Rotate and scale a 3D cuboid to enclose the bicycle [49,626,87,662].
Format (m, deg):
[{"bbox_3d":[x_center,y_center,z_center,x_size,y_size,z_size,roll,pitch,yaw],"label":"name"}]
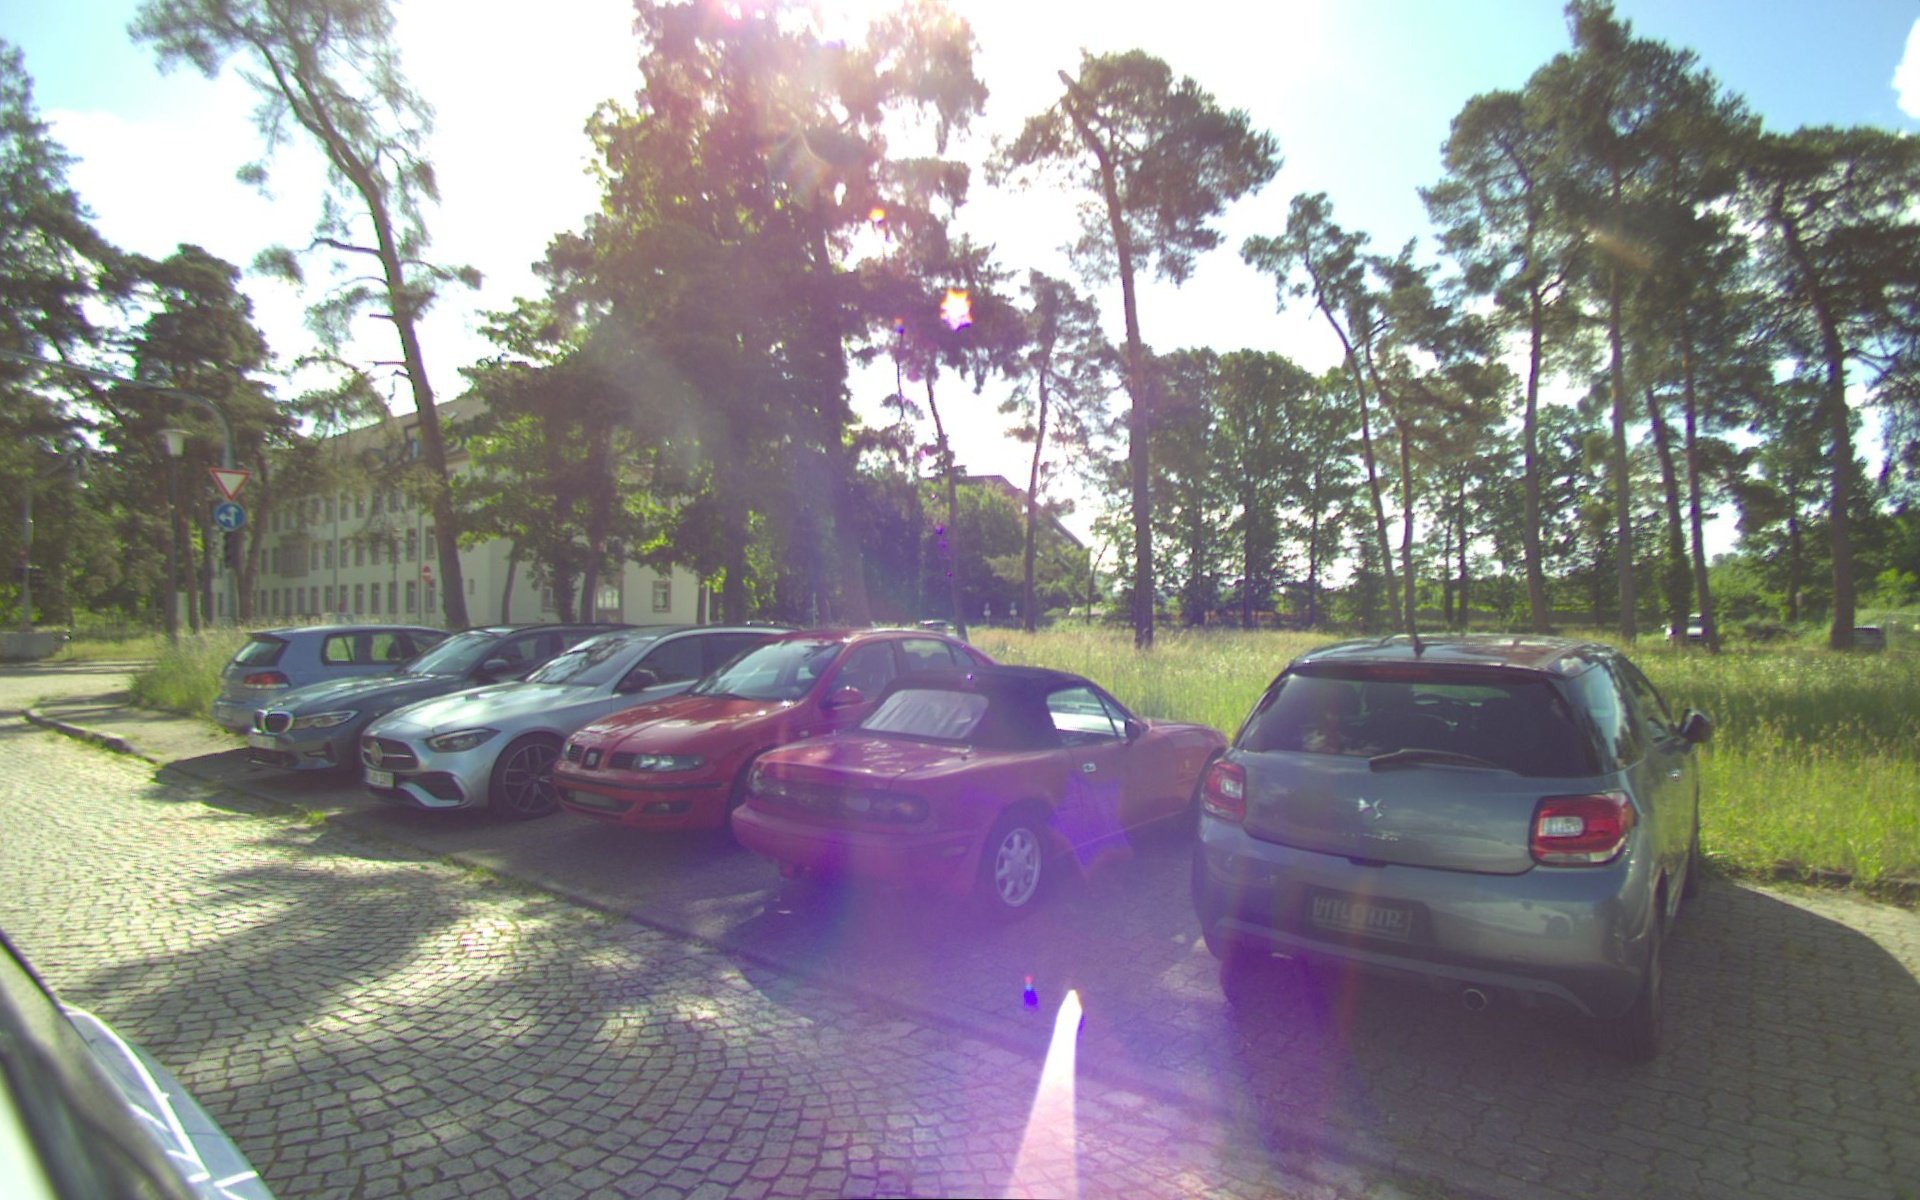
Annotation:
[{"bbox_3d":[-33.478,1.637,37.975,2.111,1.293,0.614,-2,1,37],"label":"bicycle"}]

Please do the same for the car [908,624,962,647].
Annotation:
[{"bbox_3d":[-1.806,2.662,75.271,1.839,1.642,4.004,-2,-3,40],"label":"car"}]

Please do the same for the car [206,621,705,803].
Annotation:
[{"bbox_3d":[-5.239,1.013,11.136,1.980,1.463,4.541,-1,0,35],"label":"car"}]

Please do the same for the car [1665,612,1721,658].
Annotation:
[{"bbox_3d":[36.972,1.756,50.967,1.955,2.180,4.797,-1,-2,40],"label":"car"}]

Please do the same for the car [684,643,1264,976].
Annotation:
[{"bbox_3d":[0.321,0.981,6.291,1.758,1.243,3.594,0,0,40],"label":"car"}]

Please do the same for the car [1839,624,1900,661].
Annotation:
[{"bbox_3d":[42.170,1.944,47.007,1.911,1.617,4.186,-1,-2,40],"label":"car"}]

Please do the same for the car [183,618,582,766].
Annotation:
[{"bbox_3d":[-7.169,1.025,12.915,1.946,1.494,3.989,-2,-1,37],"label":"car"}]

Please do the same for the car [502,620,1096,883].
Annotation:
[{"bbox_3d":[-0.965,0.934,8.386,1.936,1.431,4.817,-1,0,39],"label":"car"}]

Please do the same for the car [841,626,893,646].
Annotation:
[{"bbox_3d":[-7.353,2.856,80.482,1.719,1.593,4.053,-1,-2,40],"label":"car"}]

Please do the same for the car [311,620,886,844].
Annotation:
[{"bbox_3d":[-3.047,0.970,9.527,1.936,1.431,4.817,0,0,39],"label":"car"}]

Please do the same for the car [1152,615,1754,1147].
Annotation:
[{"bbox_3d":[2.763,0.845,5.082,1.820,1.463,4.036,0,0,40],"label":"car"}]
